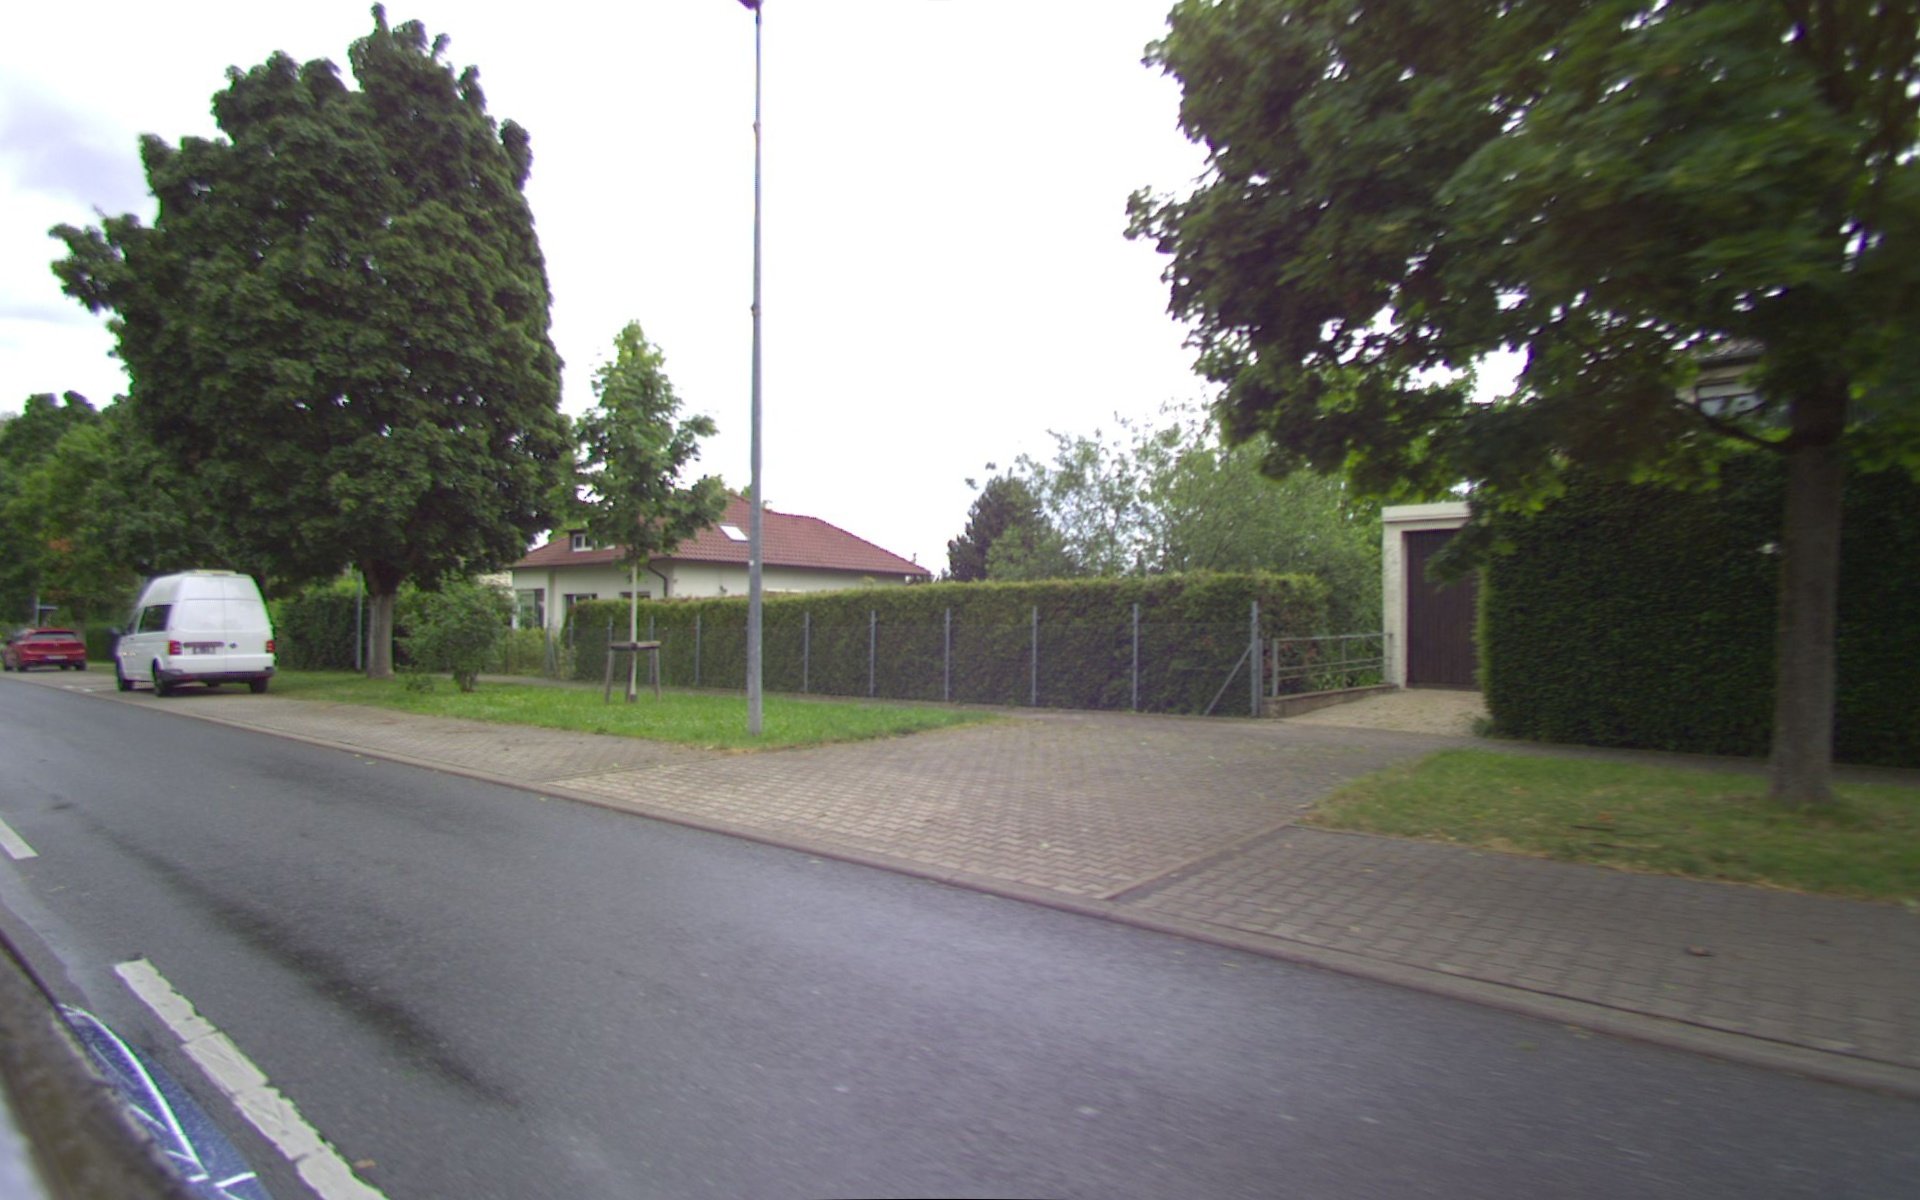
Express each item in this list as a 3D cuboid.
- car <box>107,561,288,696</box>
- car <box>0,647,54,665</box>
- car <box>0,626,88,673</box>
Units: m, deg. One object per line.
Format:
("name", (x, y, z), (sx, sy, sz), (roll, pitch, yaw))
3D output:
("car", (-16.472, 0.630, 21.756), (5.228, 2.580, 1.973), (-2, -2, 40))
("car", (-96.528, 5.770, 104.408), (4.369, 1.428, 1.760), (-4, 0, -34))
("car", (-30.936, 1.638, 34.000), (4.246, 1.477, 1.824), (-2, -2, 40))
